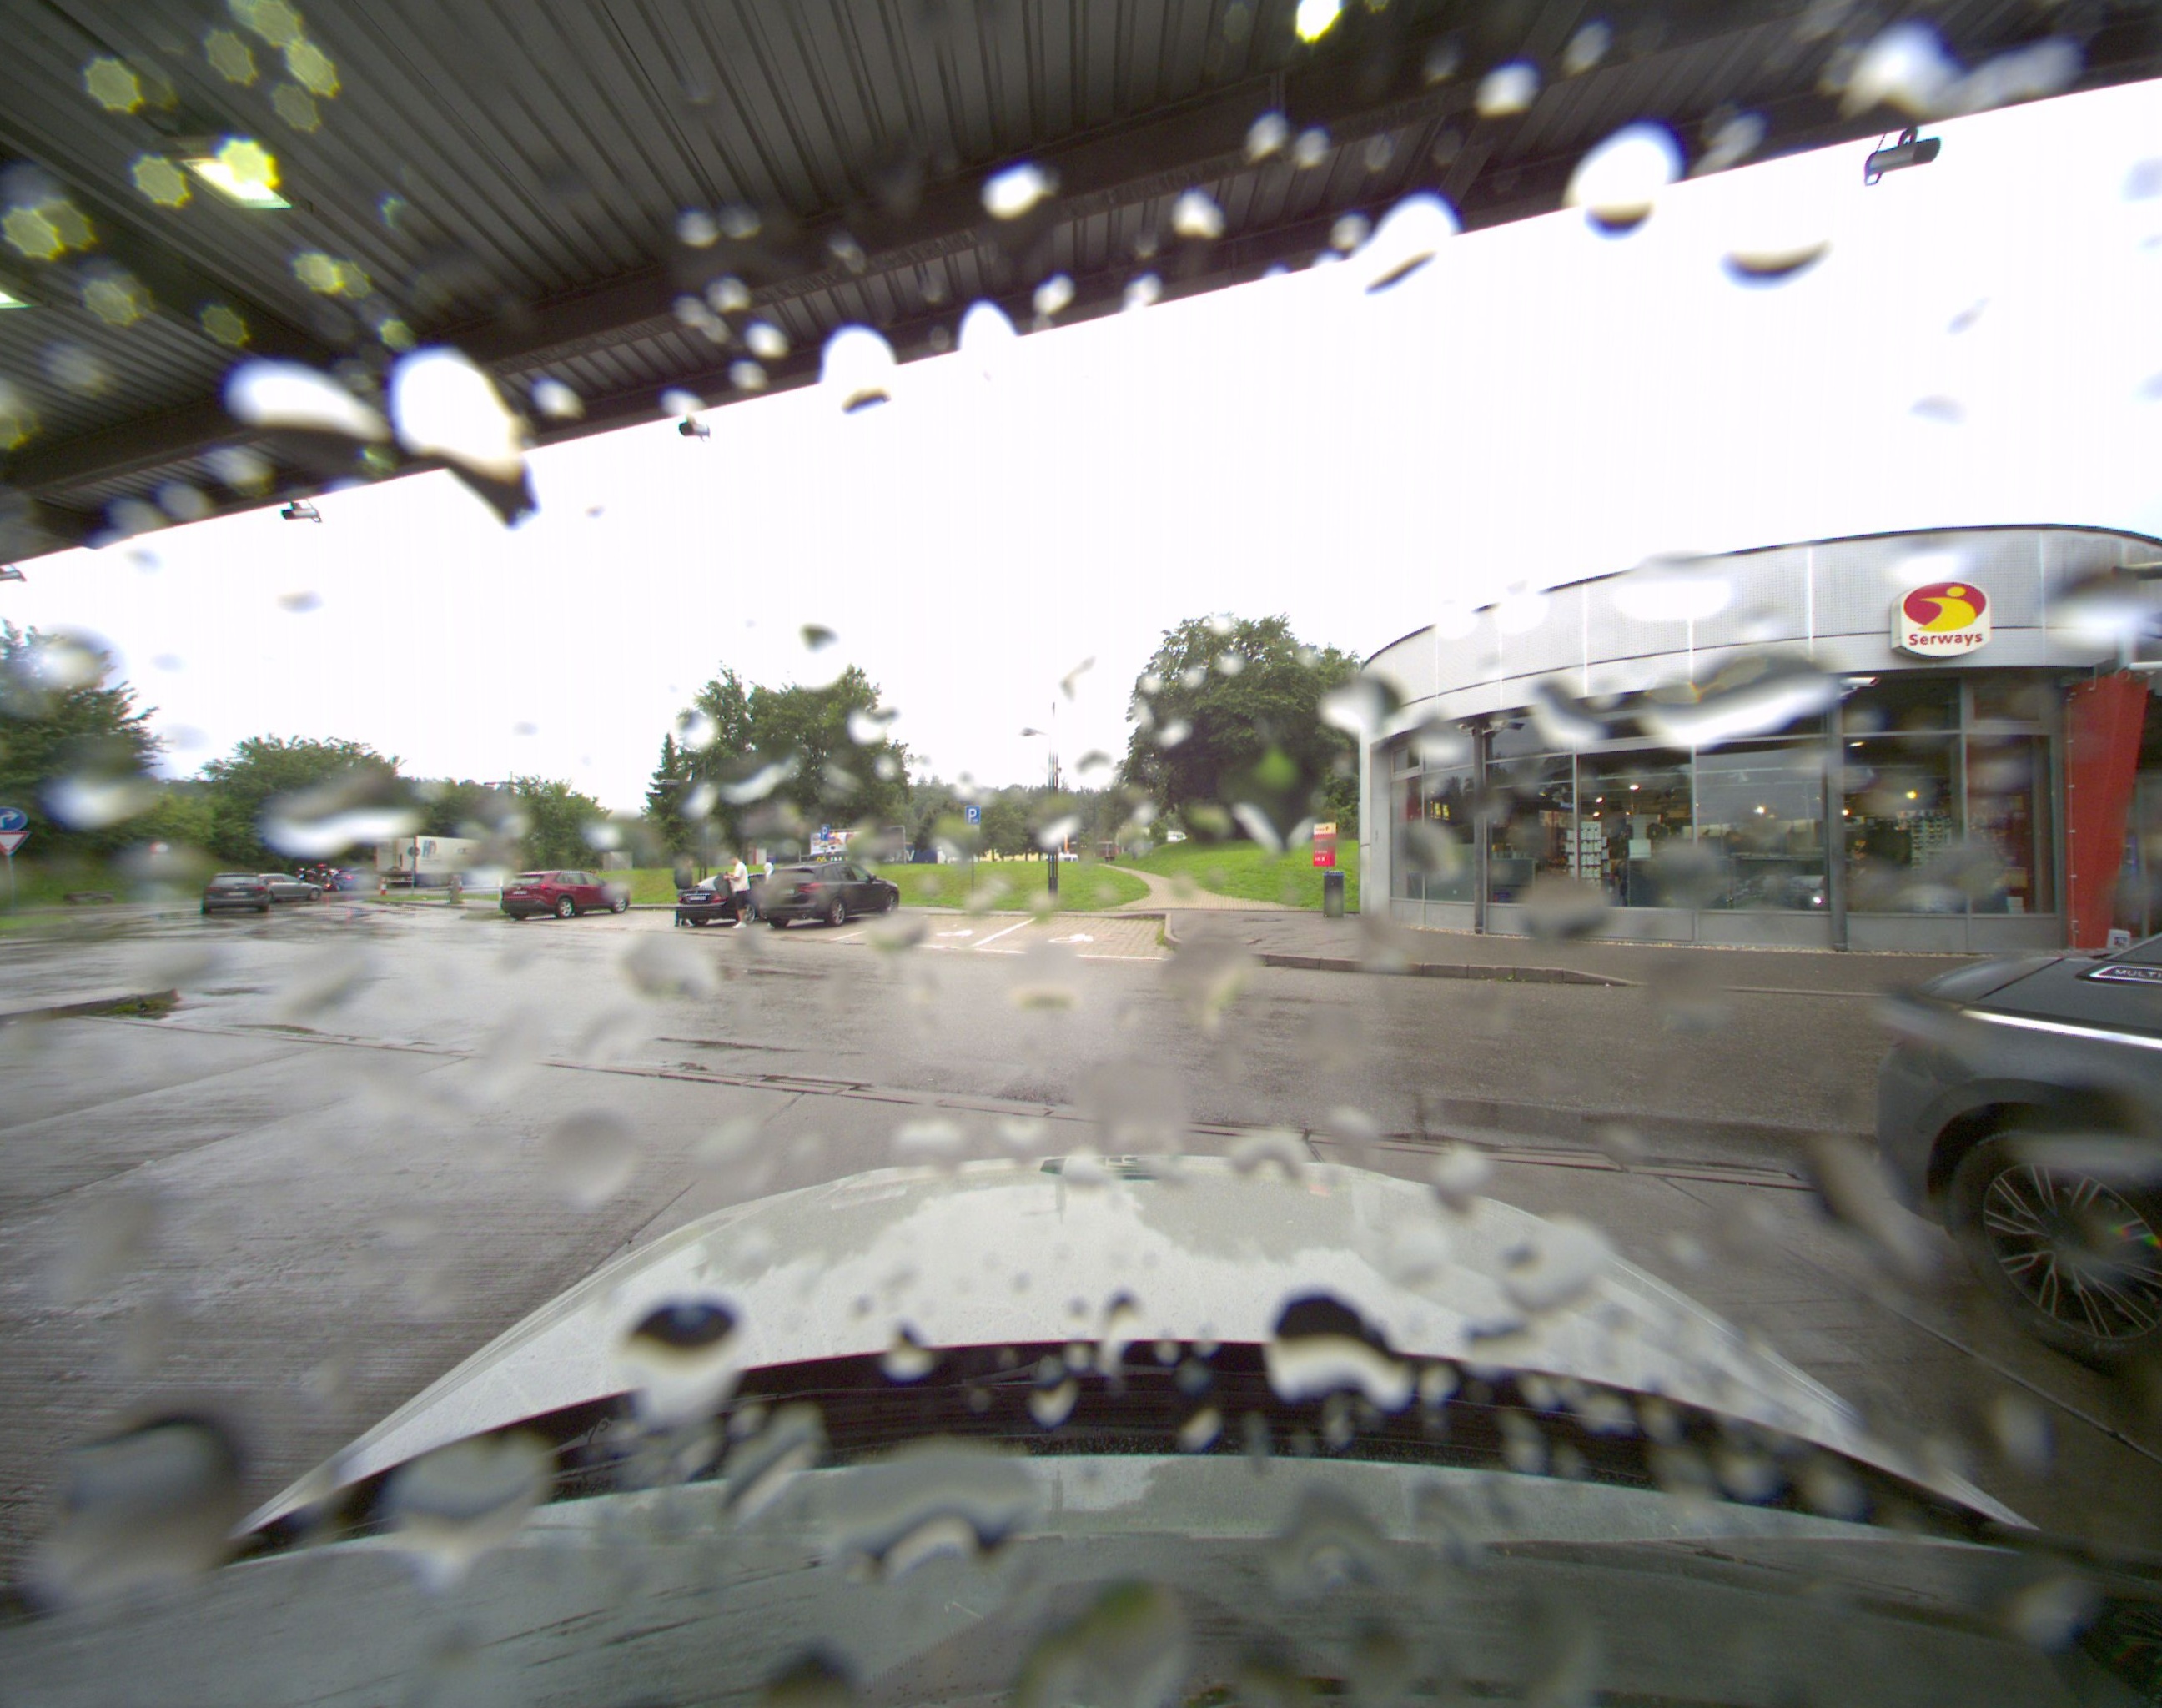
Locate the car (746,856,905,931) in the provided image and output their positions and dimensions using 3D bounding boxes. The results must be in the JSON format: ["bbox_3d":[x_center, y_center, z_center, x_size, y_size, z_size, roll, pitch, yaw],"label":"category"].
[{"bbox_3d":[-6.646,0.970,21.788,2.002,1.711,4.360,-2,0,14],"label":"car"}]

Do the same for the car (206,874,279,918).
[{"bbox_3d":[-34.734,1.693,33.743,3.949,1.678,2.012,-2,-1,44],"label":"car"}]

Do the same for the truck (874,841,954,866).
[{"bbox_3d":[-20.747,-0.058,102.356,2.165,2.920,13.175,-1,-1,26],"label":"truck"}]

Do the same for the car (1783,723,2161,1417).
[{"bbox_3d":[3.676,0.543,0.686,1.854,1.798,5.142,0,-1,2],"label":"car"}]

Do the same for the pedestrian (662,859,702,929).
[{"bbox_3d":[-11.076,1.091,22.620,0.882,1.887,0.708,-1,-1,42],"label":"pedestrian"}]

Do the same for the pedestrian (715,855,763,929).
[{"bbox_3d":[-8.929,0.982,21.256,0.942,1.887,0.708,-1,-1,25],"label":"pedestrian"}]

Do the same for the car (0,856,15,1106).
[{"bbox_3d":[-7.966,0.801,2.685,1.854,1.608,5.273,0,-1,2],"label":"car"}]

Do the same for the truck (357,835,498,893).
[{"bbox_3d":[-55.440,0.831,69.987,3.550,4.340,16.899,0,-1,-18],"label":"truck"}]

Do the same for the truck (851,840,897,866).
[{"bbox_3d":[-24.179,-0.090,95.464,2.165,2.920,5.419,-1,-1,27],"label":"truck"}]

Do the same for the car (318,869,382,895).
[{"bbox_3d":[-50.340,1.871,56.183,1.814,1.681,3.927,0,-1,-18],"label":"car"}]

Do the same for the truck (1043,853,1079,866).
[{"bbox_3d":[-3.241,0.877,134.113,5.356,2.014,2.381,-1,-1,26],"label":"truck"}]

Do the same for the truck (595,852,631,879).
[{"bbox_3d":[-54.818,1.358,95.310,2.498,3.085,7.270,0,-1,-40],"label":"truck"}]

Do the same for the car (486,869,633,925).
[{"bbox_3d":[-18.134,1.438,28.601,1.928,1.644,4.352,-2,0,7],"label":"car"}]

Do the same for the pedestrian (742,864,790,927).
[{"bbox_3d":[-8.415,1.098,21.763,0.695,1.631,0.960,-1,-1,41],"label":"pedestrian"}]

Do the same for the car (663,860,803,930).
[{"bbox_3d":[-9.832,1.080,23.433,2.010,1.711,4.344,-2,0,1],"label":"car"}]

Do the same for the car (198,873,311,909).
[{"bbox_3d":[-40.741,1.774,40.289,1.769,1.628,3.991,-1,-1,-6],"label":"car"}]
